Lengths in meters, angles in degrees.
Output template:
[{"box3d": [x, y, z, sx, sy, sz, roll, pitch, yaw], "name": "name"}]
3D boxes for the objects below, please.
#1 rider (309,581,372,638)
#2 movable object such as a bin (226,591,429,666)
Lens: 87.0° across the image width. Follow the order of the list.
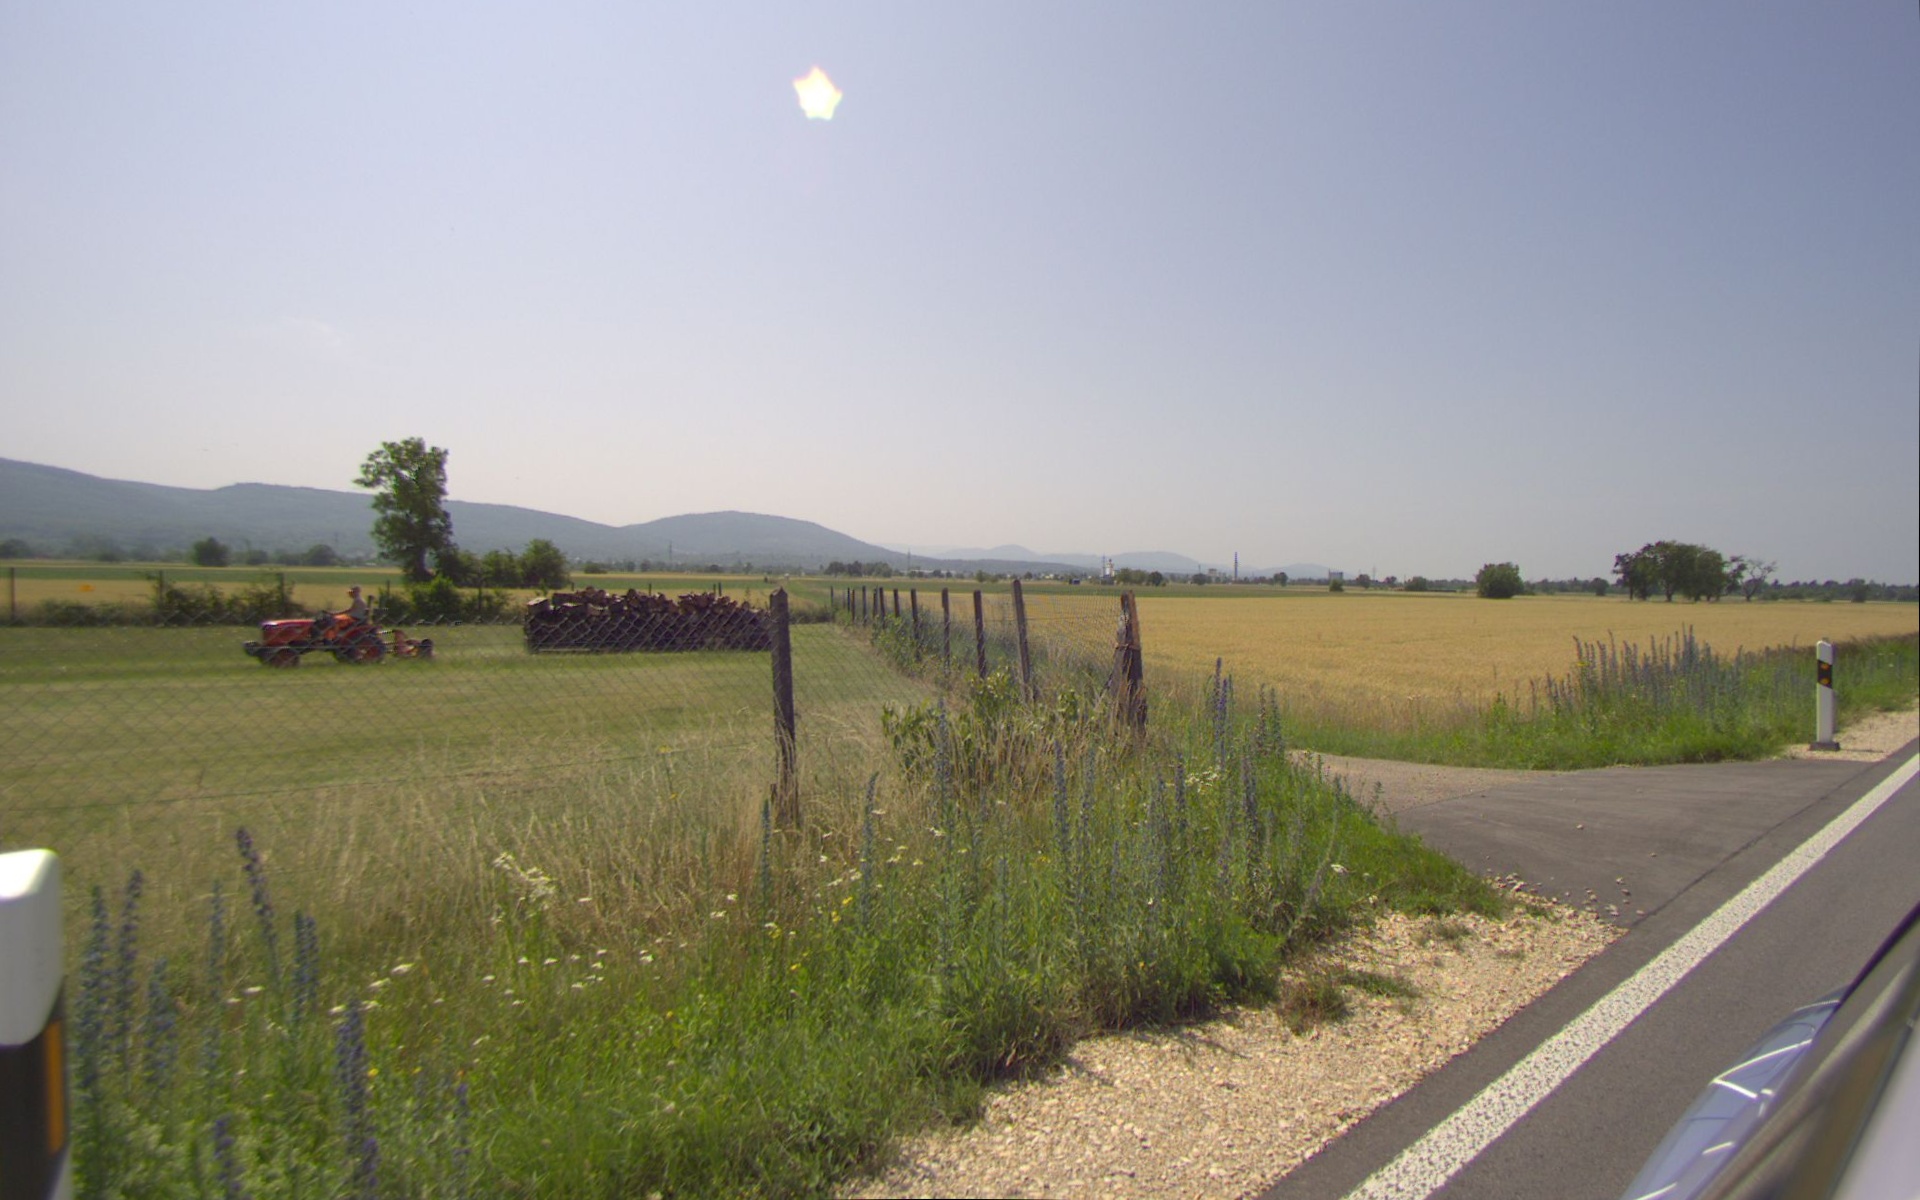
[{"box3d": [-13.770, 0.192, 22.502, 1.024, 1.233, 0.970, 1, 1, 44], "name": "rider"}, {"box3d": [-14.035, 0.564, 22.565, 1.571, 1.515, 3.600, 1, 1, 45], "name": "movable object such as a bin"}]
